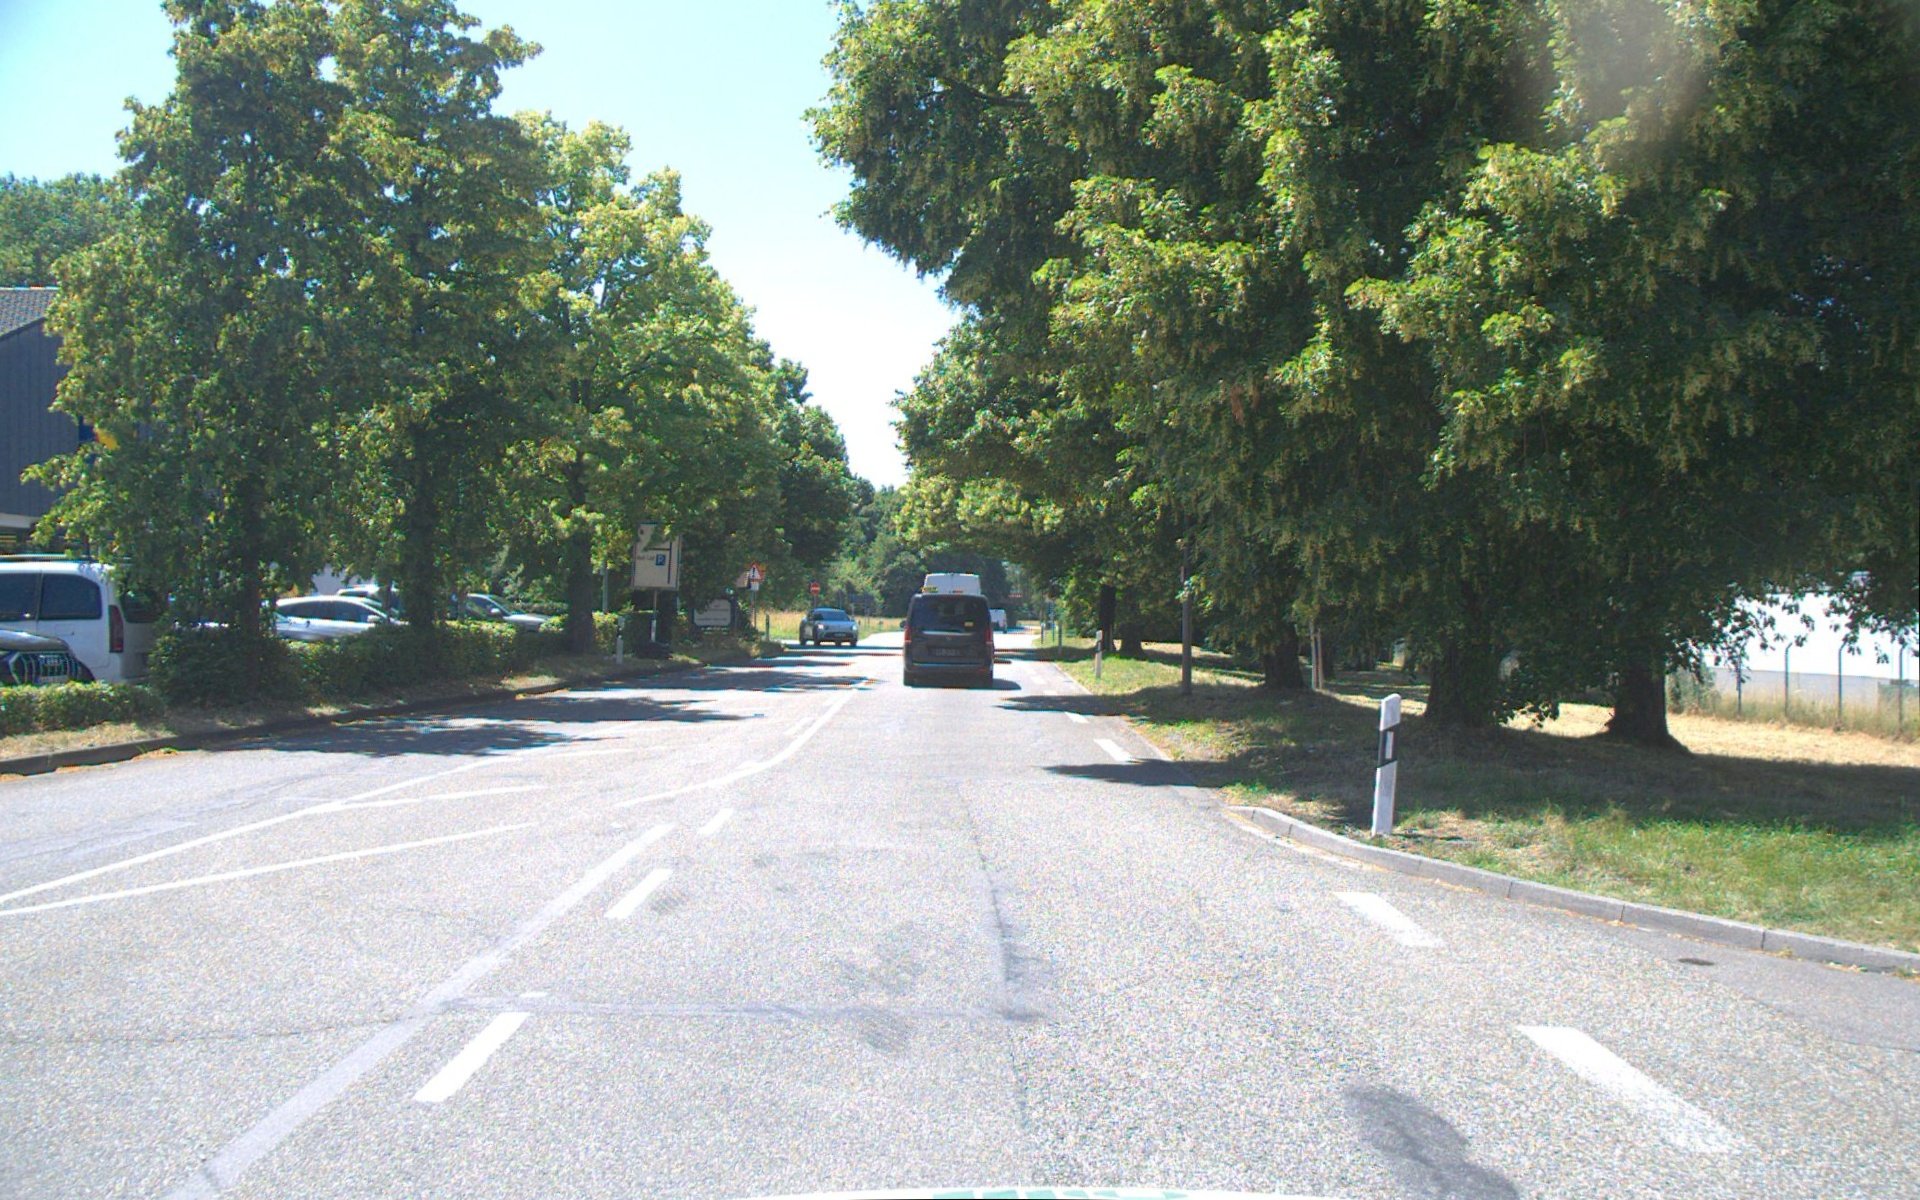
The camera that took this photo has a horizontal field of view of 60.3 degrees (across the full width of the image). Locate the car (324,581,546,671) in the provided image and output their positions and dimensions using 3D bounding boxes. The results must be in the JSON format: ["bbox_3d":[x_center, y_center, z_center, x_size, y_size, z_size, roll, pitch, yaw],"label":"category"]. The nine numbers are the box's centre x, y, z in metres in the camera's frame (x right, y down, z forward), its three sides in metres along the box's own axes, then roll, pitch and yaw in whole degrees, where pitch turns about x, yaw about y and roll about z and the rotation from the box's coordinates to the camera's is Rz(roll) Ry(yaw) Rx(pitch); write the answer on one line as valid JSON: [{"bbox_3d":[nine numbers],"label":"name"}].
[{"bbox_3d":[-11.827,0.585,37.473,4.312,1.807,2.072,2,-1,-2],"label":"car"}]

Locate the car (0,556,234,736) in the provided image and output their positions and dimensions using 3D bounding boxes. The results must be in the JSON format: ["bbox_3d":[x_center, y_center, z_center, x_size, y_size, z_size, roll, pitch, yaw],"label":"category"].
[{"bbox_3d":[-11.278,0.509,19.785,4.269,2.015,1.904,2,-1,-3],"label":"car"}]

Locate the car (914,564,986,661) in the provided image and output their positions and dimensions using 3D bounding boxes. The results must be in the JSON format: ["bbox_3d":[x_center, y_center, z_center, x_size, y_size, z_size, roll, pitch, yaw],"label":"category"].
[{"bbox_3d":[-0.279,0.393,51.092,2.035,2.750,4.666,2,-1,0],"label":"car"}]

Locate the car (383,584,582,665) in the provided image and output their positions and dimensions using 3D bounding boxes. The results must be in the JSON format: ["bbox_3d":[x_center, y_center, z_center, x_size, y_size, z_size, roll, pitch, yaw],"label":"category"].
[{"bbox_3d":[-11.874,0.599,41.373,4.312,1.807,2.072,2,-1,-2],"label":"car"}]

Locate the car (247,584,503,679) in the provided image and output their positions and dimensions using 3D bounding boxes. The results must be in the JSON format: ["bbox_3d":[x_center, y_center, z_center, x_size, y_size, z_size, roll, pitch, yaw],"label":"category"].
[{"bbox_3d":[-11.459,0.617,32.612,4.312,1.648,1.894,2,-1,-2],"label":"car"}]

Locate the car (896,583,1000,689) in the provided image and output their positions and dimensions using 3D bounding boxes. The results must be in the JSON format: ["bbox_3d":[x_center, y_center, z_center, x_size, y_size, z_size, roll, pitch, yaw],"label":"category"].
[{"bbox_3d":[-0.241,0.739,34.918,1.953,1.987,5.004,3,-1,0],"label":"car"}]

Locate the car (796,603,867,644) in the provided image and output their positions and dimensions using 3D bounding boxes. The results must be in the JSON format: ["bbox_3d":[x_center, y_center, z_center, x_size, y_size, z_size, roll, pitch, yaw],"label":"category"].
[{"bbox_3d":[-5.634,1.009,72.104,2.062,1.616,4.451,3,-1,-18],"label":"car"}]

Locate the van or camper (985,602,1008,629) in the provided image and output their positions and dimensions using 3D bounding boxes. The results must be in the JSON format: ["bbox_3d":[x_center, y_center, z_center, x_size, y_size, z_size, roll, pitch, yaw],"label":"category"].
[{"bbox_3d":[4.152,1.779,189.290,2.577,2.980,5.206,2,-1,1],"label":"van or camper"}]

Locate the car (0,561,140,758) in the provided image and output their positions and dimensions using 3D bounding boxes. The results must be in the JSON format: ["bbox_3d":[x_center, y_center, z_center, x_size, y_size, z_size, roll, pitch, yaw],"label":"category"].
[{"bbox_3d":[-11.150,0.538,17.071,4.292,1.877,2.104,1,-1,5],"label":"car"}]

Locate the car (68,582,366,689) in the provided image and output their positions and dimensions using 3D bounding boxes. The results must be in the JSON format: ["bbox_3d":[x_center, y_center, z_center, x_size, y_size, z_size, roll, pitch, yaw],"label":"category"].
[{"bbox_3d":[-12.111,0.568,27.161,3.947,1.552,1.933,2,-1,-2],"label":"car"}]
